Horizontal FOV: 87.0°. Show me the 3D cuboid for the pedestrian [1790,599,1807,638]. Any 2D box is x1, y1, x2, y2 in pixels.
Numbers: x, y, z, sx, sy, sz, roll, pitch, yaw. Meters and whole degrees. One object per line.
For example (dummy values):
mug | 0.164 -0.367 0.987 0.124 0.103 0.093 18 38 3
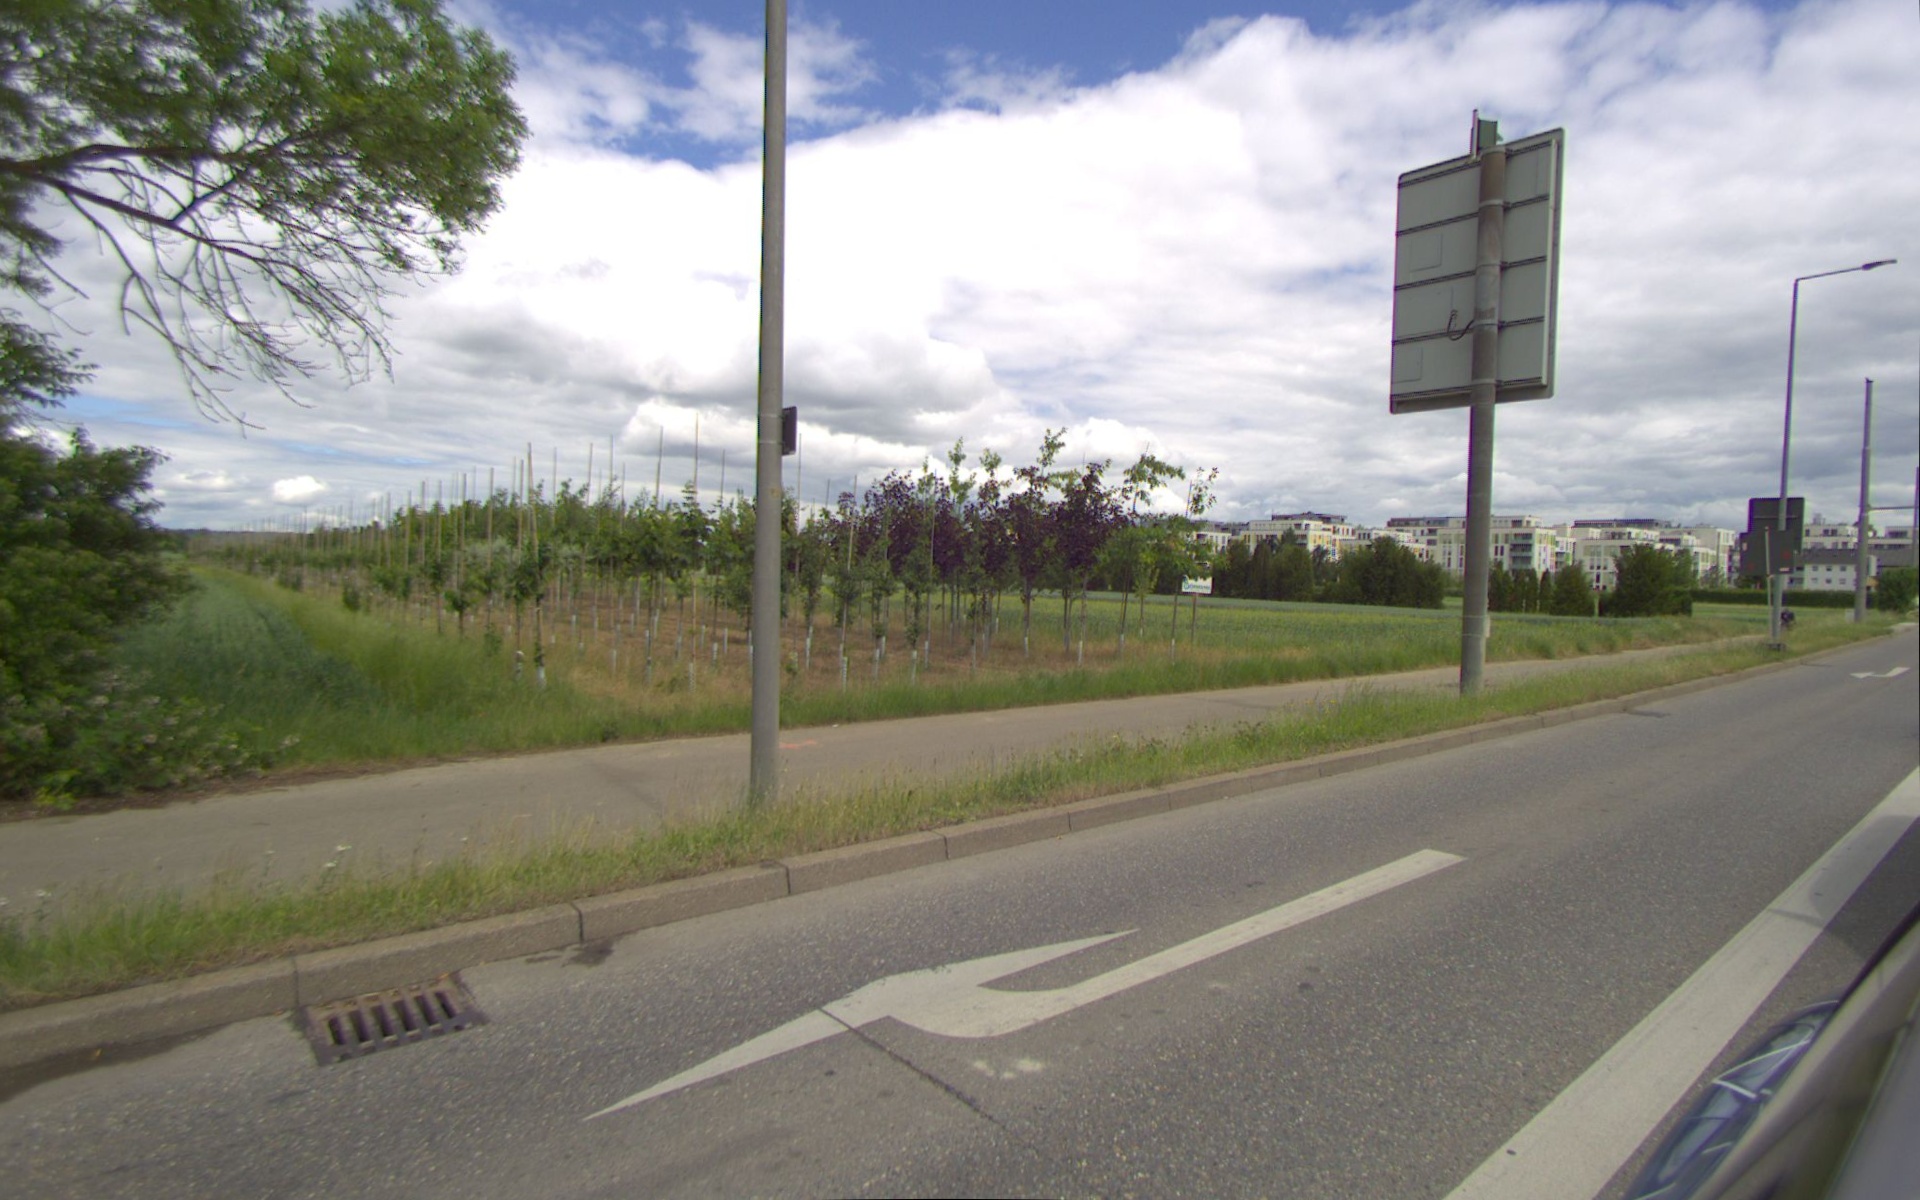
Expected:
pedestrian | 37.236 0.800 44.959 0.615 1.724 0.492 0 0 -42
